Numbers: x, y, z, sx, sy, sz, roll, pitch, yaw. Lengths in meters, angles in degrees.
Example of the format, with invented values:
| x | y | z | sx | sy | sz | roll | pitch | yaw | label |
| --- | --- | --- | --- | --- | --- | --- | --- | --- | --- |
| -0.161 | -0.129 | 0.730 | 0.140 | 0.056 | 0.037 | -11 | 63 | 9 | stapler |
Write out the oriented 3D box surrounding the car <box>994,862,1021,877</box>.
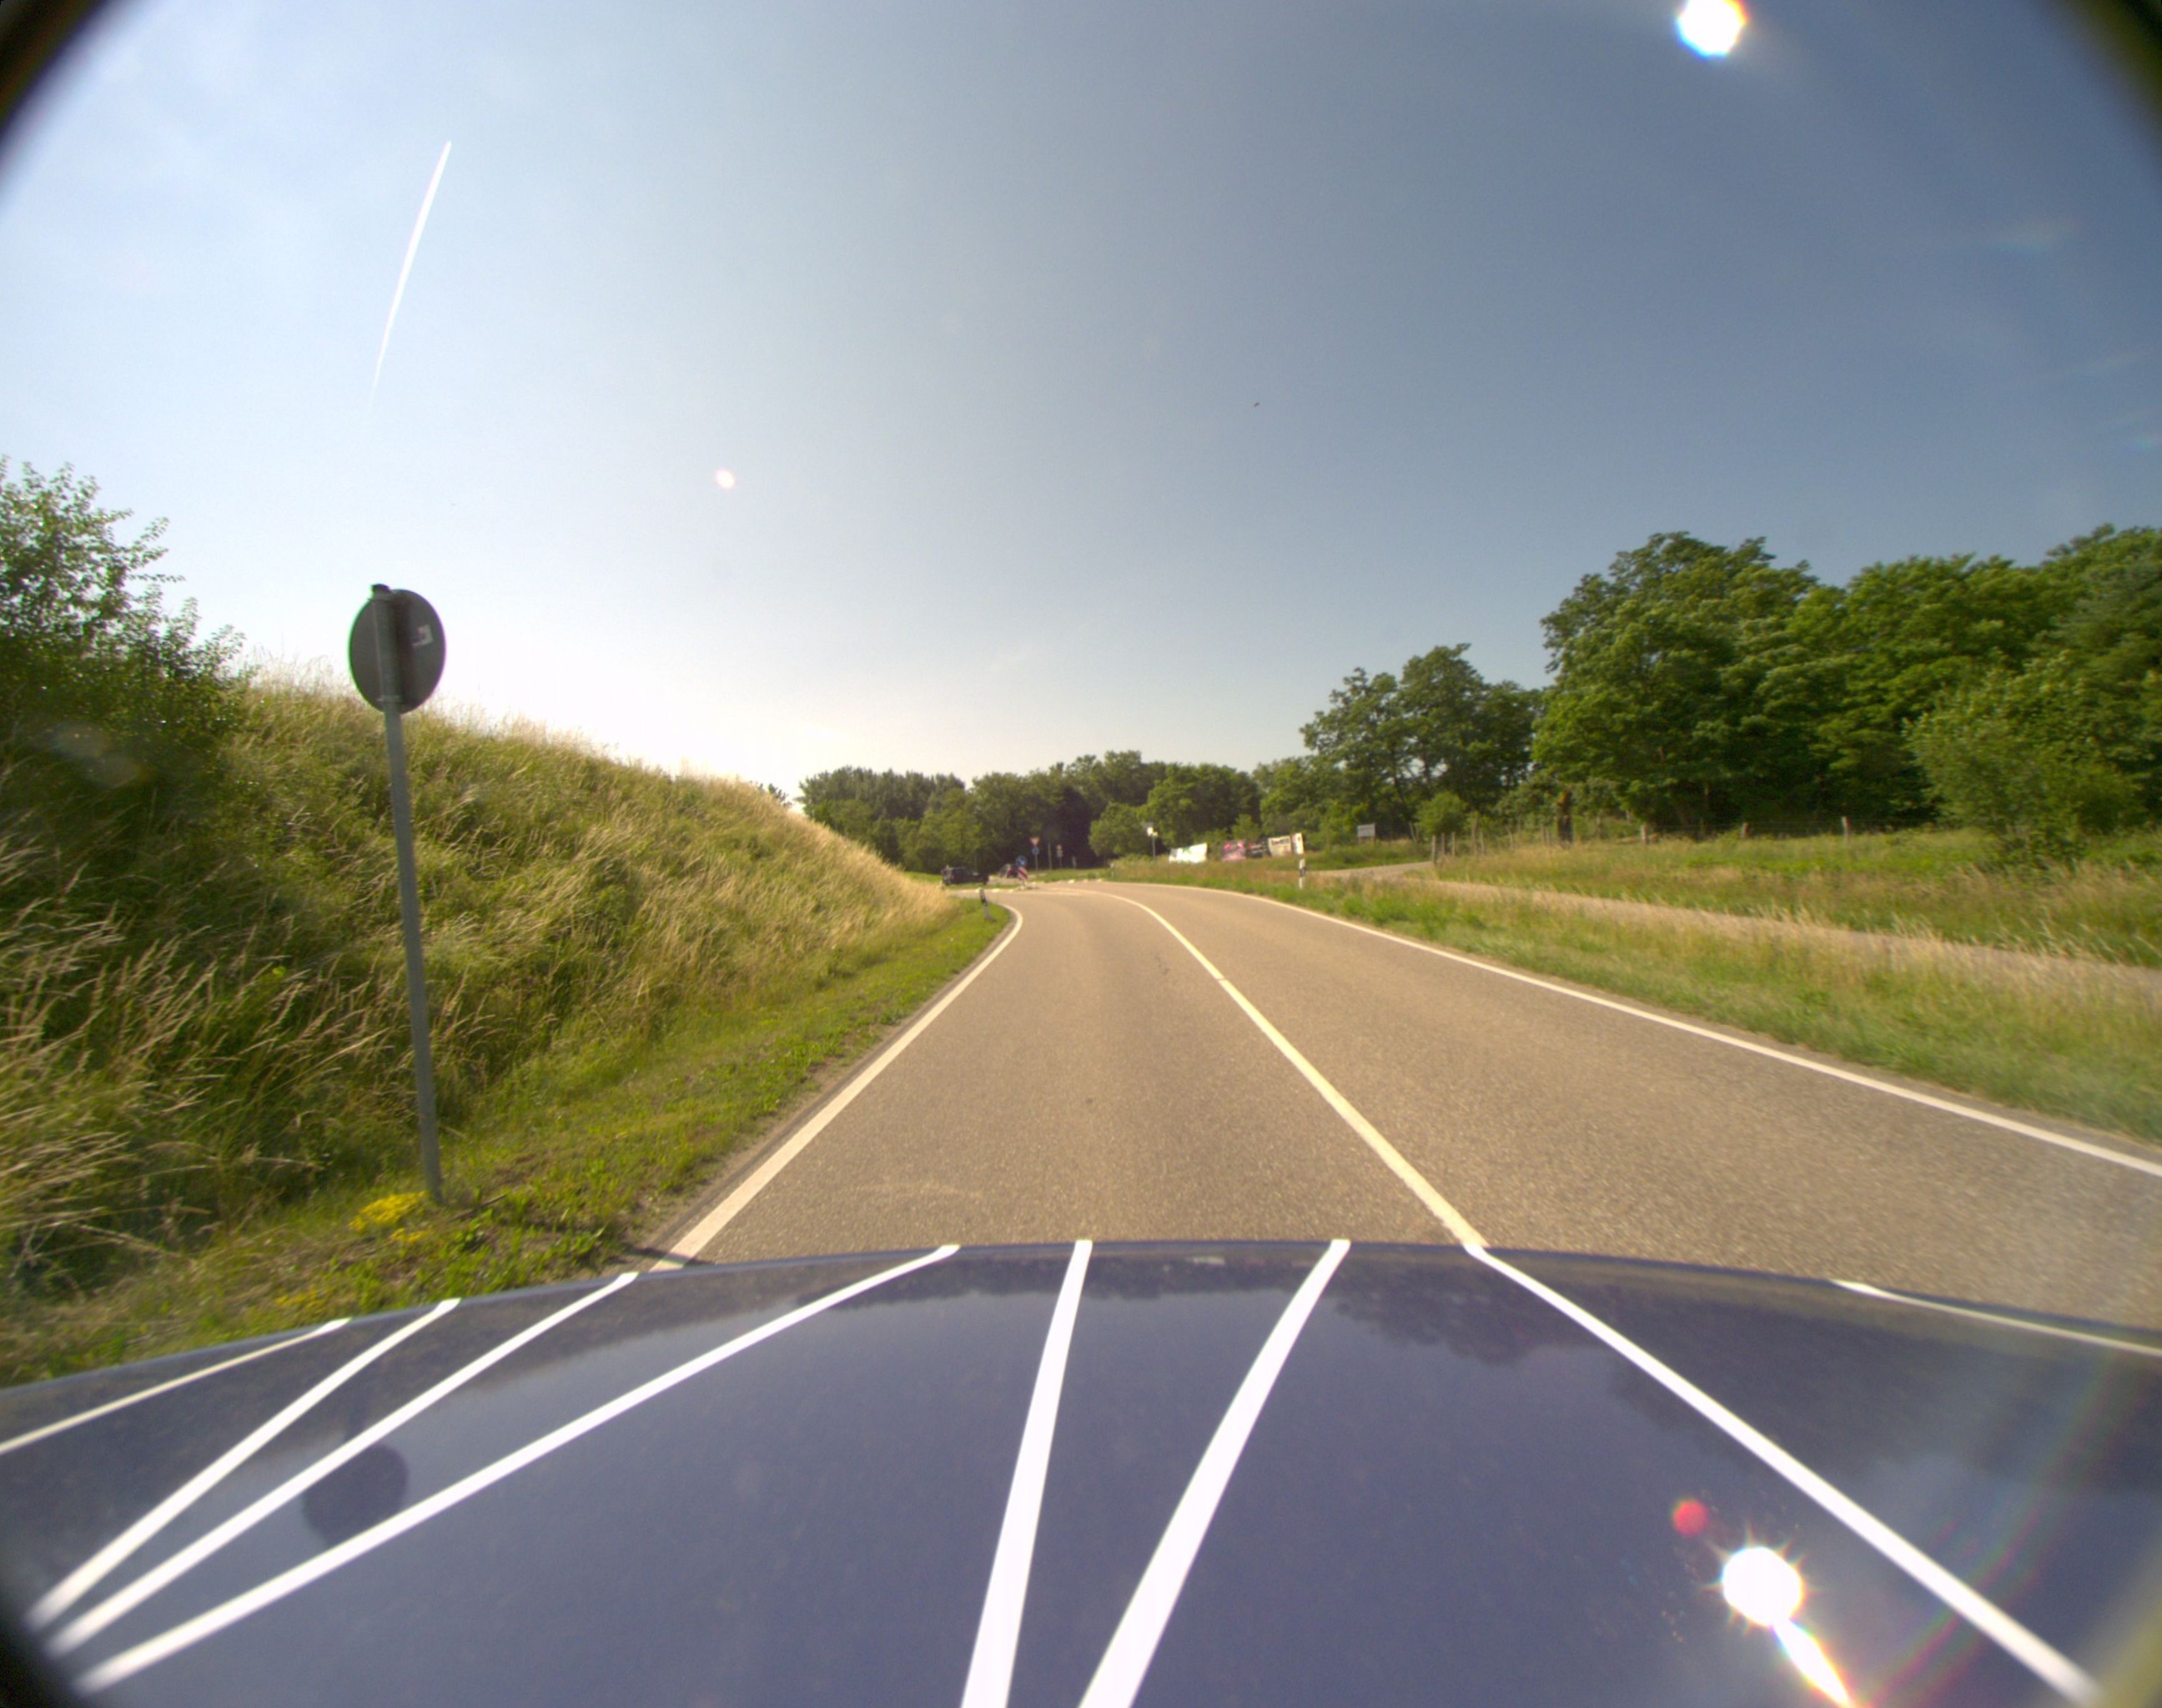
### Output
| x | y | z | sx | sy | sz | roll | pitch | yaw | label |
| --- | --- | --- | --- | --- | --- | --- | --- | --- | --- |
| -7.988 | 1.633 | 81.729 | 1.815 | 1.481 | 4.671 | -4 | 1 | -18 | car |

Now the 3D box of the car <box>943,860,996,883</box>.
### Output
| x | y | z | sx | sy | sz | roll | pitch | yaw | label |
| --- | --- | --- | --- | --- | --- | --- | --- | --- | --- |
| -9.687 | 1.532 | 66.205 | 4.359 | 1.646 | 1.703 | -5 | 1 | -44 | car |
